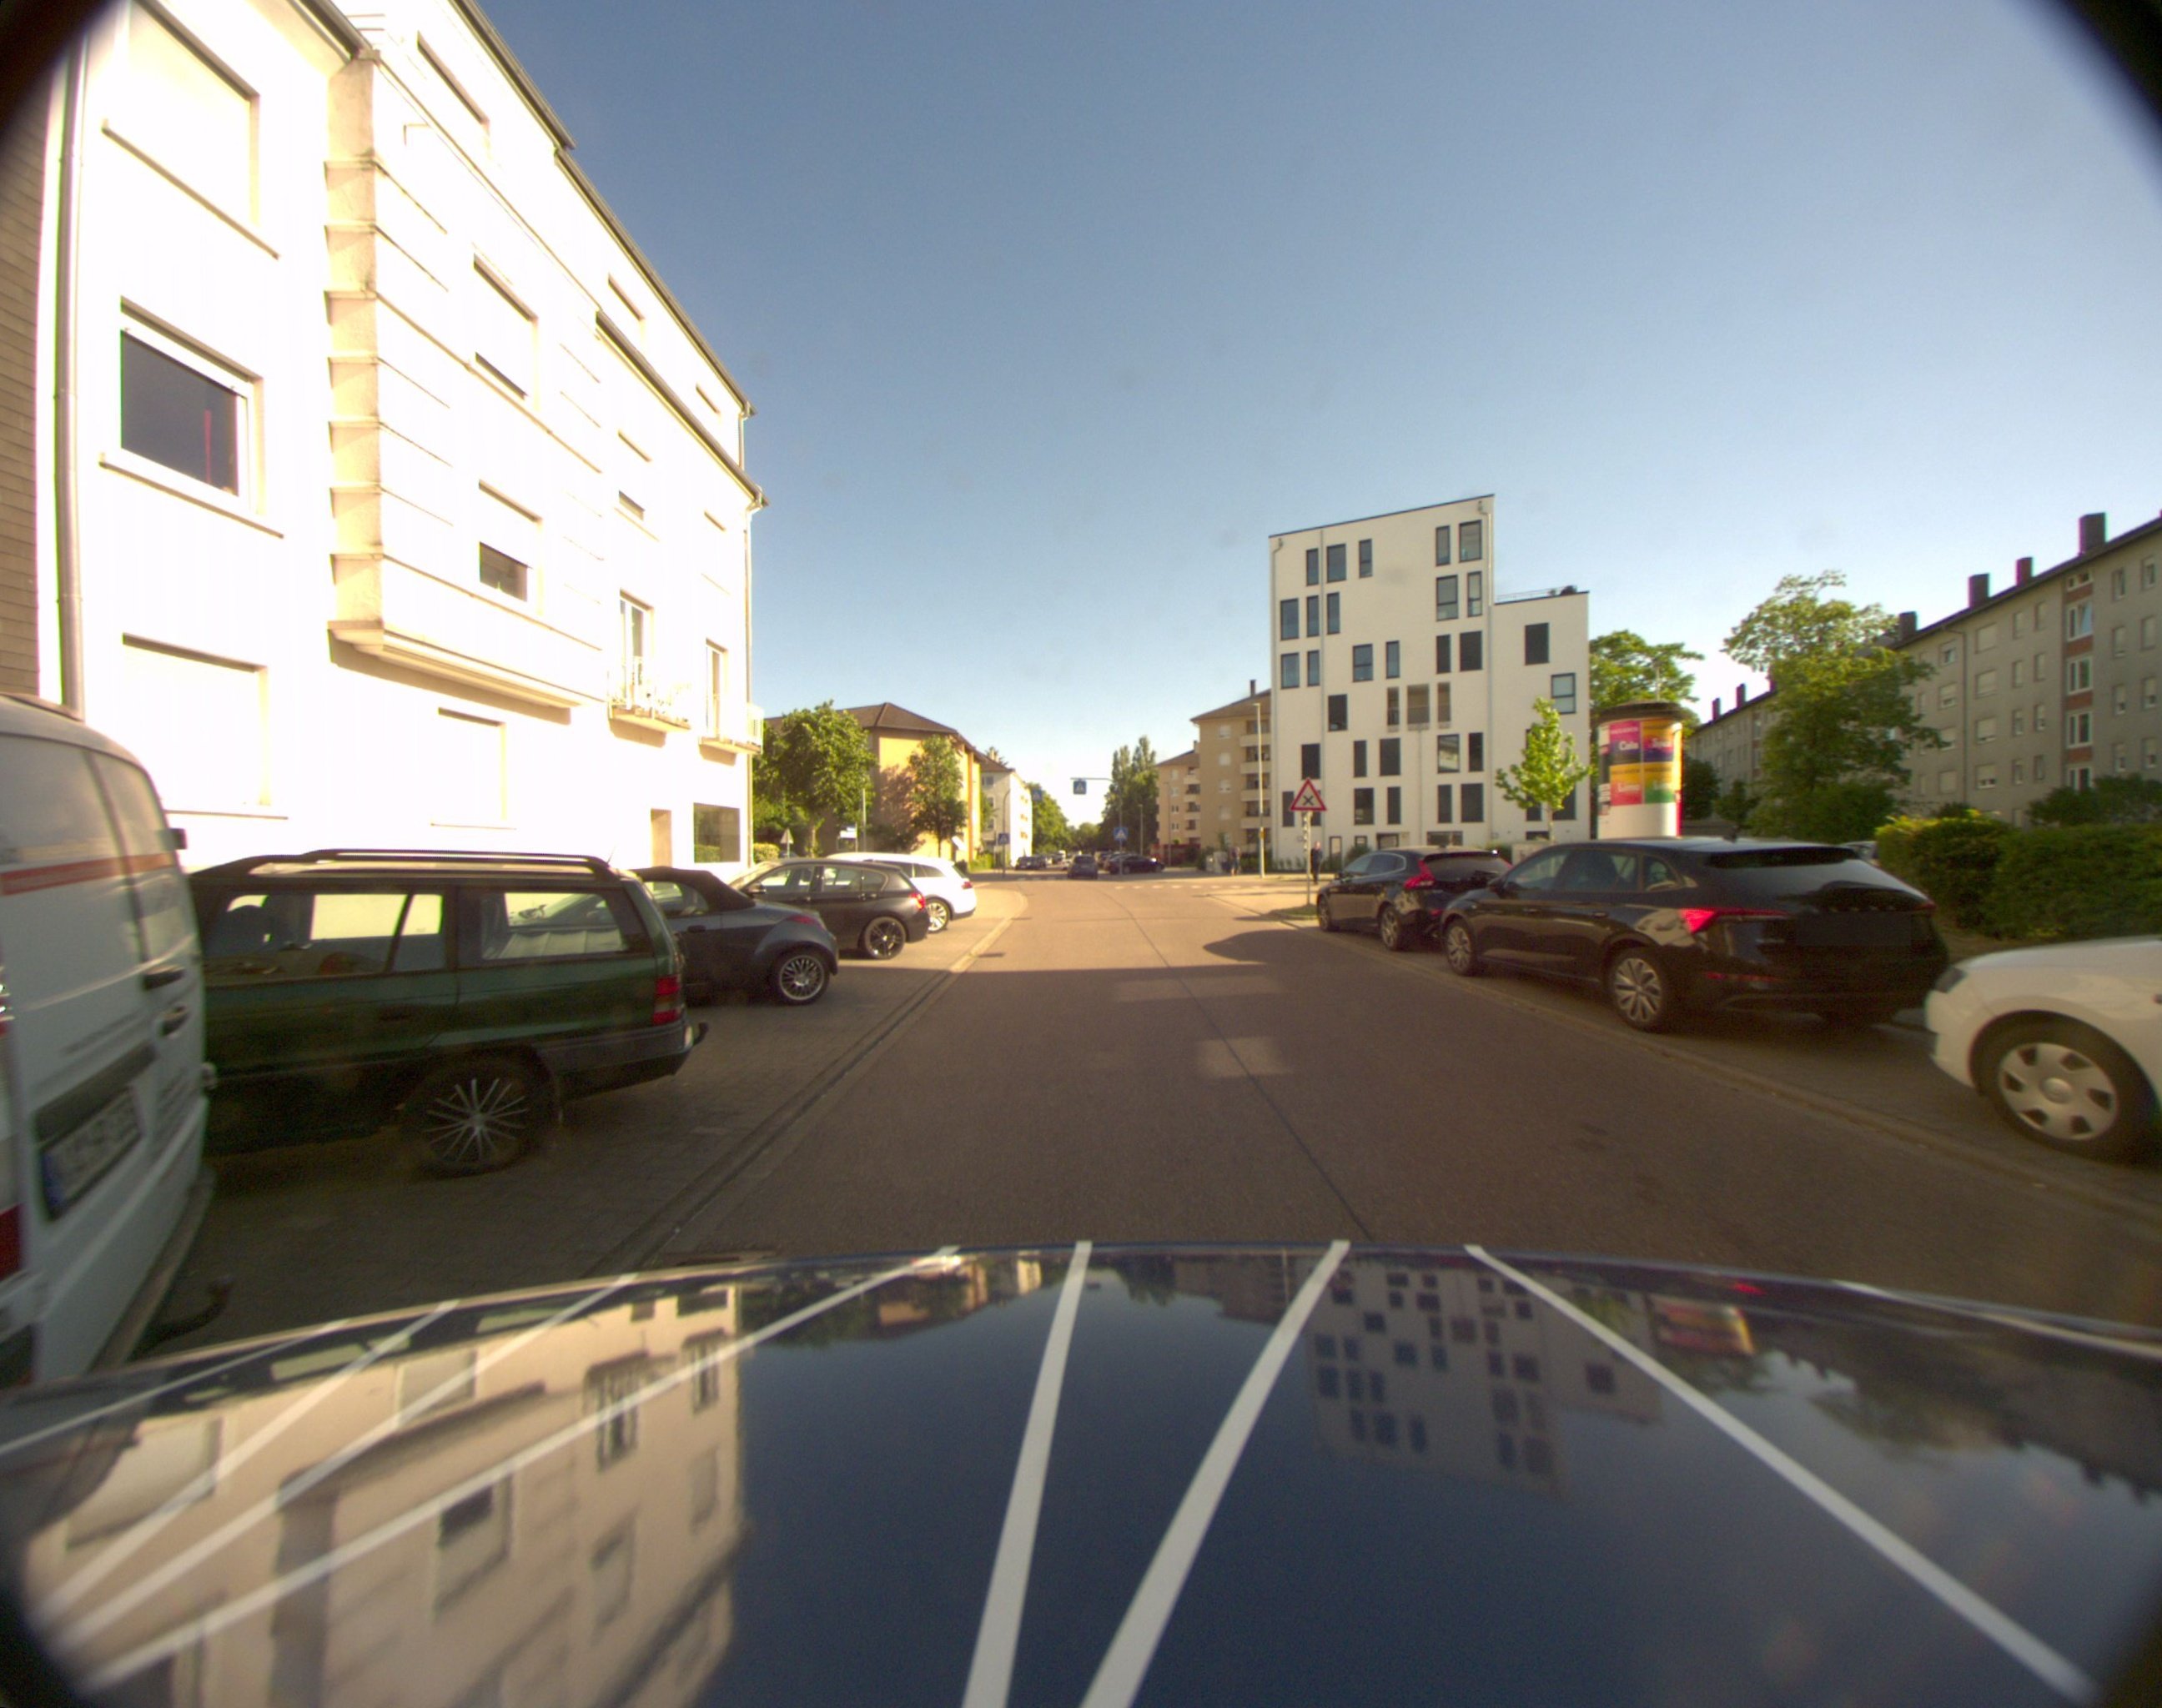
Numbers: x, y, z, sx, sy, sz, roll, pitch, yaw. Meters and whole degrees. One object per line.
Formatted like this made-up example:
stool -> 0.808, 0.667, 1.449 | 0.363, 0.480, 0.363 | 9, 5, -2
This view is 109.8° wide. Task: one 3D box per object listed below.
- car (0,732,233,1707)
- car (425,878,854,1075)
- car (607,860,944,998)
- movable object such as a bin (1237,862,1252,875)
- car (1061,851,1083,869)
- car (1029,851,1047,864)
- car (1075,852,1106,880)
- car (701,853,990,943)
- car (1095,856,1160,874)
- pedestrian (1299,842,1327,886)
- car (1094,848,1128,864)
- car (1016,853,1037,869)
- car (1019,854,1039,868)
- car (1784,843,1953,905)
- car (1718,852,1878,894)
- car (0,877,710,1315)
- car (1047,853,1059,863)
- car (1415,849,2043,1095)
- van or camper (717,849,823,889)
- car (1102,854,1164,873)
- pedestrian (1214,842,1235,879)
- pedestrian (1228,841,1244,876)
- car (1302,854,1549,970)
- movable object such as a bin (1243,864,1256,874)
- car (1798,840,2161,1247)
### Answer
car -> -3.945, 0.683, 0.329 | 4.540, 1.887, 2.043 | 1, 2, -41
car -> -4.216, 0.997, 7.536 | 3.404, 1.380, 1.536 | -1, 1, -40
car -> -4.283, 0.906, 10.875 | 4.179, 1.489, 1.818 | -1, 2, -34
movable object such as a bin -> 9.114, 0.808, 42.363 | 0.273, 0.676, 0.846 | -2, 2, -34
car -> -0.812, 0.542, 71.310 | 1.890, 1.496, 4.636 | 0, 2, 1
car -> -5.151, 0.441, 91.042 | 1.999, 1.456, 3.999 | -1, 1, -2
car -> 0.599, 0.699, 48.366 | 1.841, 1.496, 4.135 | -1, 3, 0
car -> -4.380, 0.795, 14.491 | 4.884, 1.455, 1.968 | 2, -1, -35
car -> 3.523, 0.808, 57.639 | 4.570, 1.160, 1.995 | -2, 1, -29
pedestrian -> 9.106, 0.378, 29.782 | 0.977, 1.704, 0.875 | 0, 1, 22
car -> 4.016, 0.238, 101.206 | 4.004, 2.003, 1.996 | -2, 3, -21
car -> -5.402, 0.677, 74.671 | 1.909, 1.506, 3.997 | 0, 0, -7
car -> -5.451, 0.693, 79.997 | 1.999, 1.237, 3.997 | -1, 2, -4
car -> 21.400, 0.463, 20.880 | 1.724, 1.483, 4.108 | 0, 1, 23
car -> 26.725, 0.668, 28.503 | 3.990, 1.412, 1.675 | 0, 3, 24
car -> -4.073, 0.914, 3.584 | 4.004, 1.481, 1.612 | 2, 2, -31
car -> -4.821, 0.672, 132.522 | 1.999, 1.685, 3.998 | -1, 2, -2
car -> 4.994, 0.714, 6.913 | 1.913, 1.470, 4.379 | -1, 1, -1
van or camper -> -16.217, 0.727, 39.597 | 5.373, 1.853, 1.998 | 0, 3, 26
car -> 4.160, 0.766, 60.760 | 4.571, 1.422, 1.995 | 0, 0, -29
pedestrian -> 8.335, 0.373, 44.263 | 0.776, 2.108, 0.957 | -2, 0, -21
pedestrian -> 8.396, 0.225, 41.186 | 0.789, 1.875, 0.847 | 0, 3, 16
car -> 4.957, 0.735, 11.674 | 1.793, 1.402, 4.222 | -1, 0, -1
movable object such as a bin -> 9.790, 0.864, 44.114 | 0.273, 0.538, 0.684 | -2, 2, -44
car -> 5.067, 0.729, 2.012 | 1.913, 1.521, 4.623 | -1, 1, -1
